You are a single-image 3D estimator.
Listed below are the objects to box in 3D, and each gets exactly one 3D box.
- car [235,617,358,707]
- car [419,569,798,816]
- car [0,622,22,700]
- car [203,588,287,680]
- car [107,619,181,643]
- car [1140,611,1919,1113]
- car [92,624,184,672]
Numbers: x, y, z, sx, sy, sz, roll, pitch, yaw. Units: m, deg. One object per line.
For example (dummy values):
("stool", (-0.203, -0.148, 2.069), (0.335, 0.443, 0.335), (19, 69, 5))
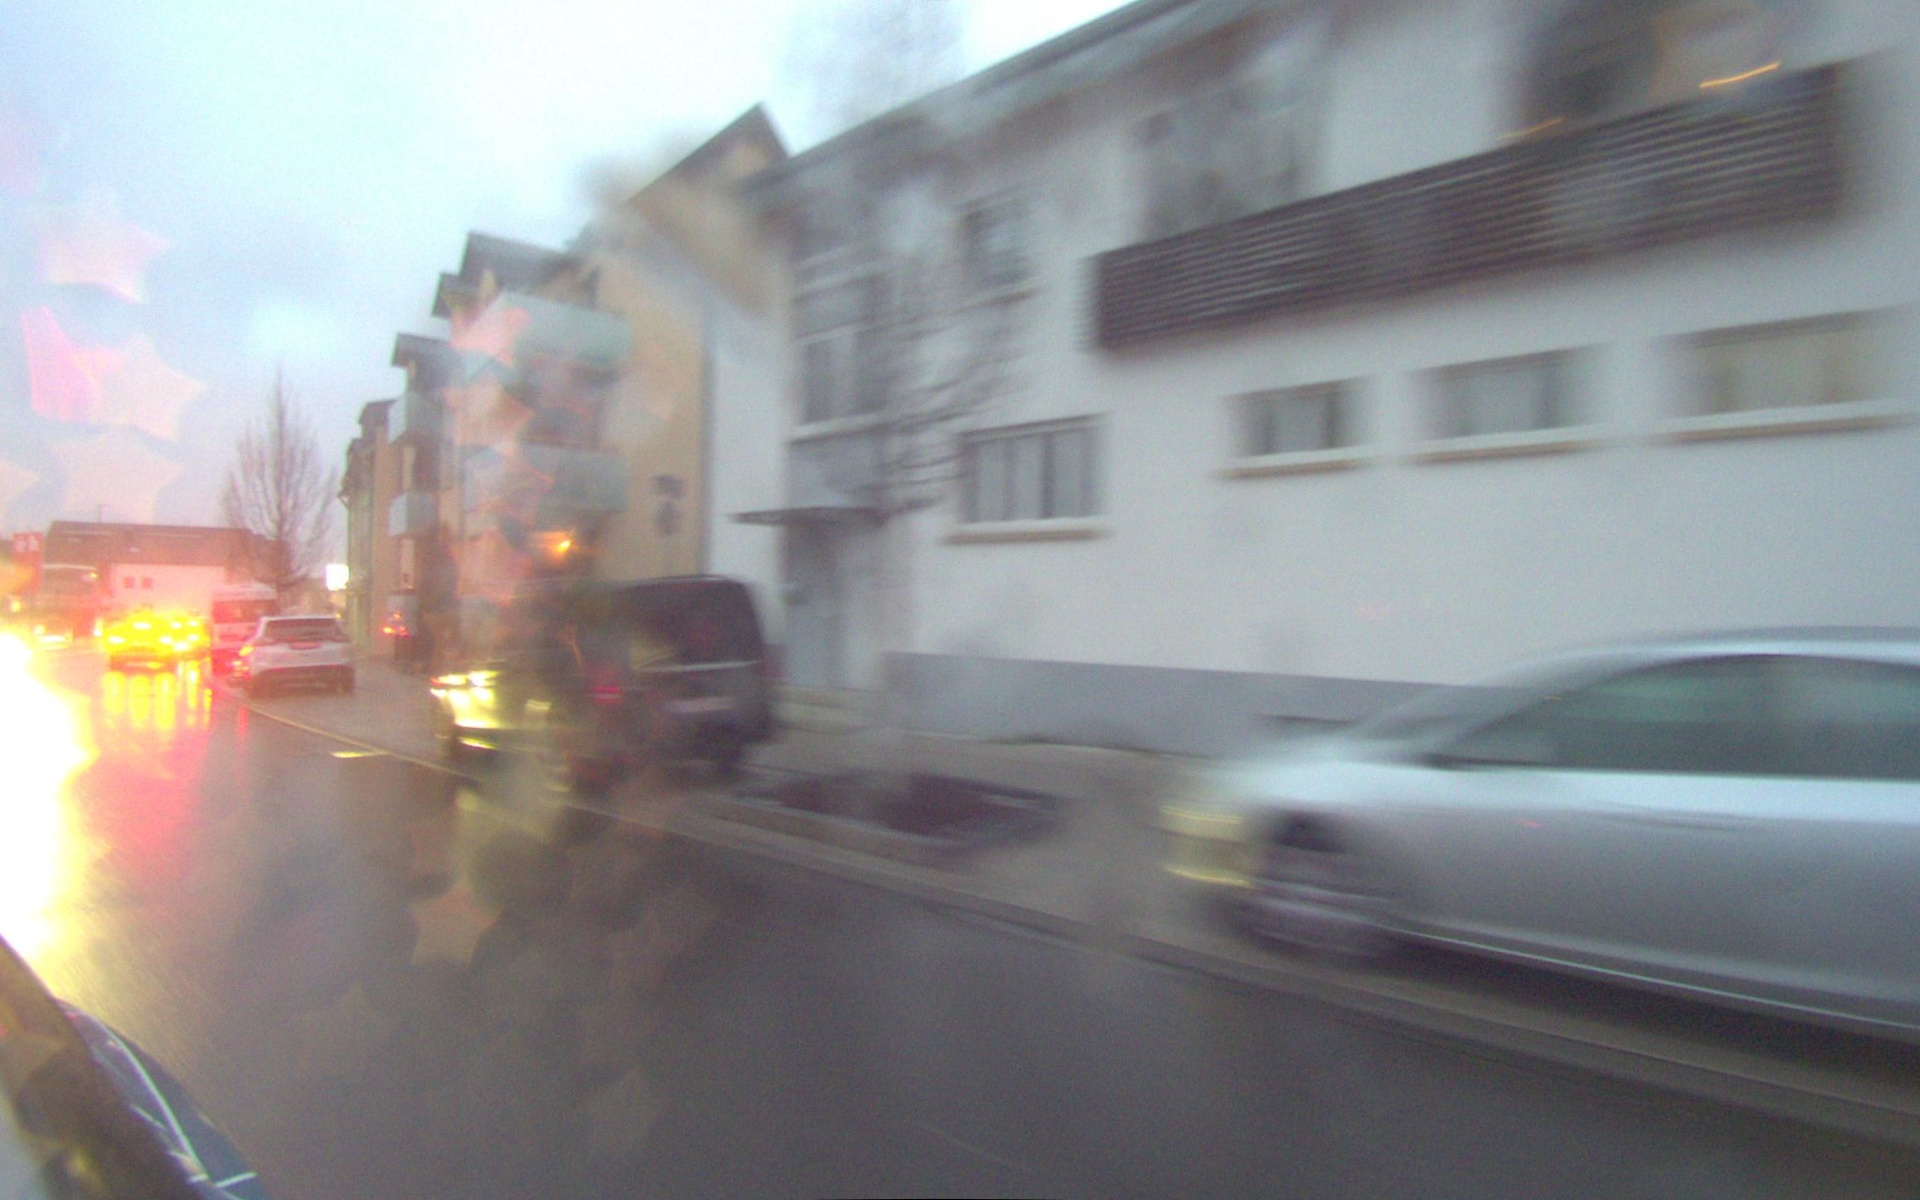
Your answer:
("car", (-14.566, 1.263, 22.099), (1.910, 1.682, 4.350), (-2, 0, -37))
("car", (-3.795, 0.775, 10.292), (1.857, 1.914, 4.839), (-1, -1, -42))
("car", (-22.230, 1.325, 22.473), (1.850, 1.644, 4.006), (1, -2, -40))
("car", (-22.861, 1.042, 32.378), (2.014, 2.679, 4.220), (-2, 0, -36))
("car", (-62.215, 2.368, 77.203), (3.931, 1.660, 1.867), (3, -4, -20))
("car", (3.078, 0.801, 4.071), (4.396, 1.467, 1.774), (-1, 0, 44))
("car", (-27.865, 1.572, 34.436), (1.966, 1.511, 4.011), (1, -2, -33))
